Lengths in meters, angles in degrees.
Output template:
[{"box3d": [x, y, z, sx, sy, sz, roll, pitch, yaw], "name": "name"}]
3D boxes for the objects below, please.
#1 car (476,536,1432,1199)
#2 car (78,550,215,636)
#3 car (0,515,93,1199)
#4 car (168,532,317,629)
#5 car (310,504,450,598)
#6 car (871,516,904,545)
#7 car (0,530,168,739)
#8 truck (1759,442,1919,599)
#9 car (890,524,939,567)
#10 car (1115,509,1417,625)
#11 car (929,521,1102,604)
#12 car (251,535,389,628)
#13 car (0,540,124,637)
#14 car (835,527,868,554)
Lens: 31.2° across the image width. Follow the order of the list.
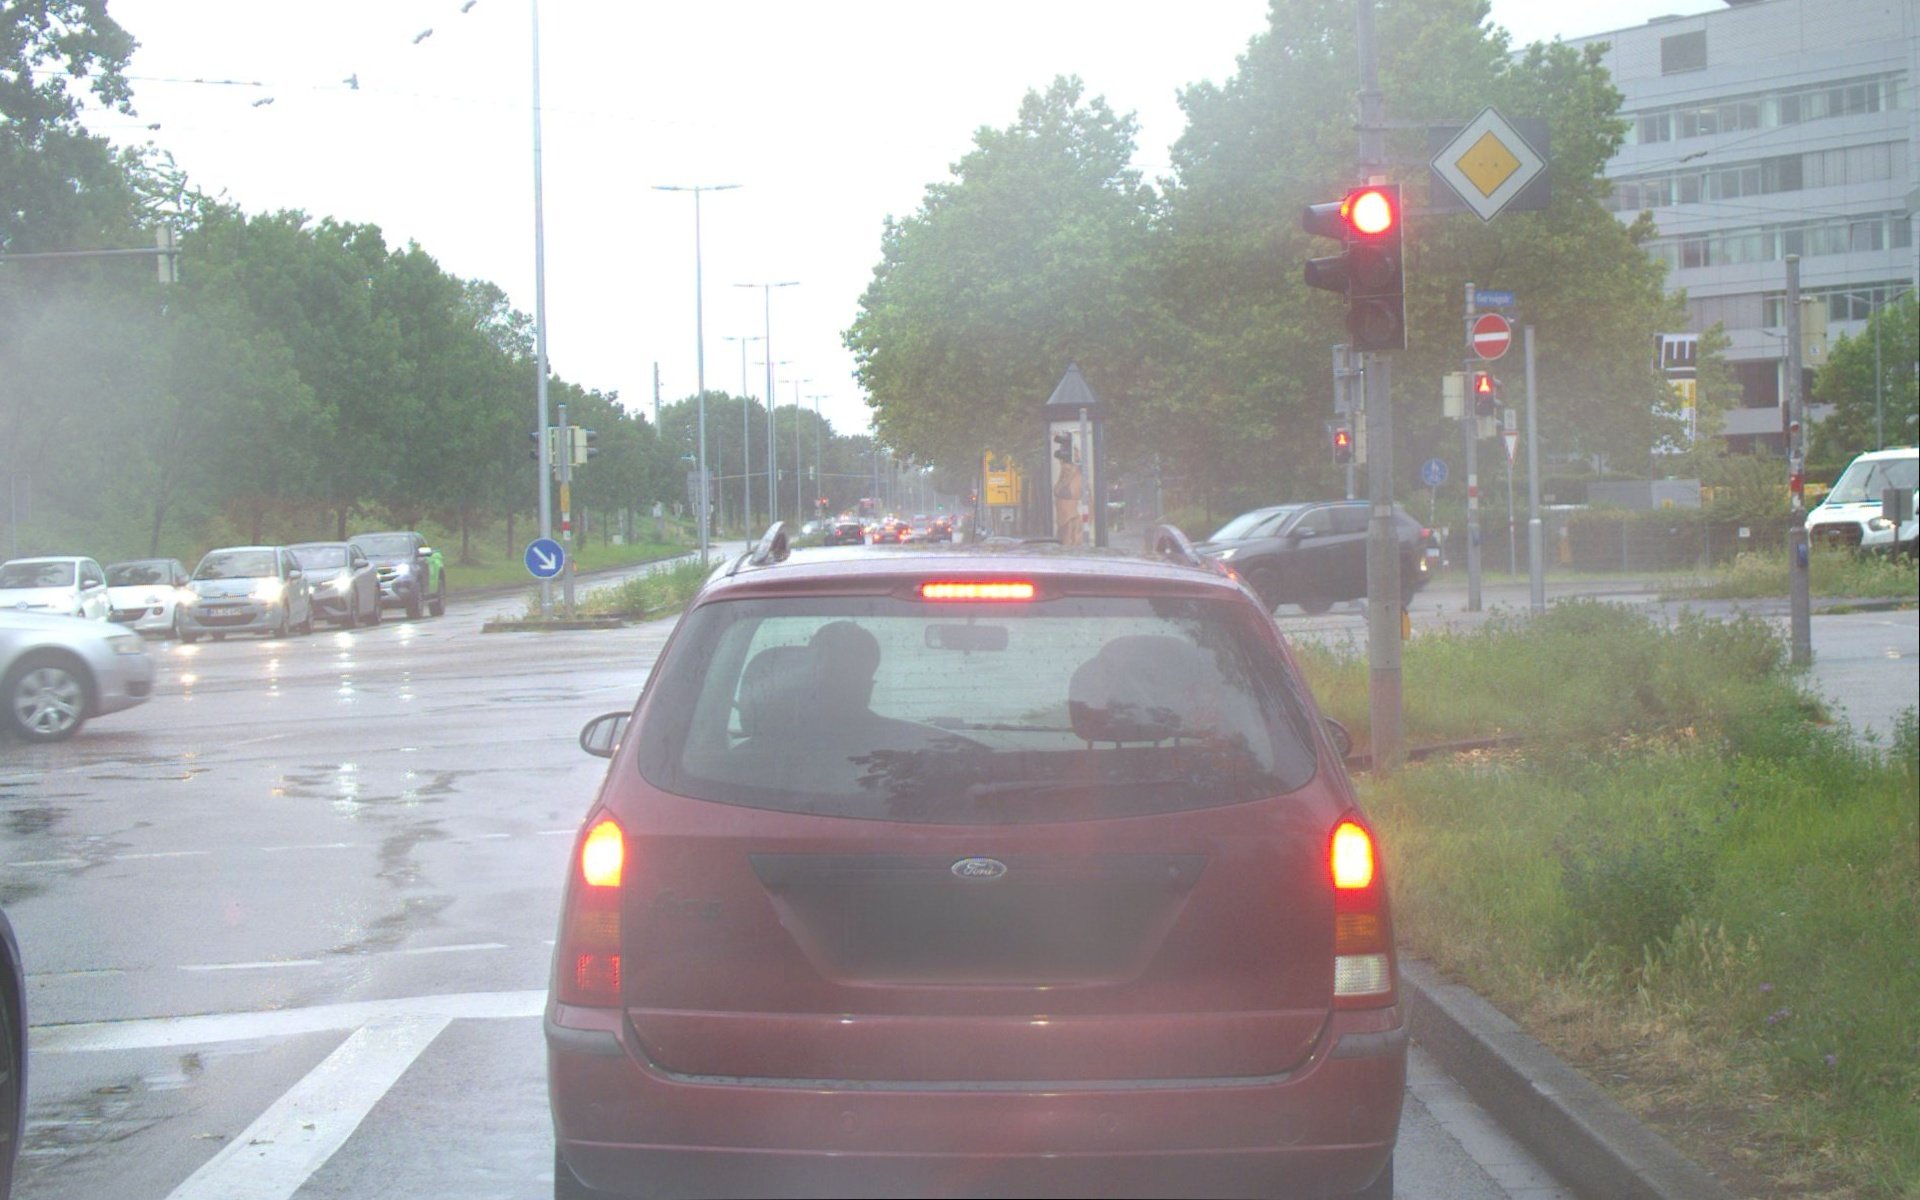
[{"box3d": [-0.062, 0.606, 7.826, 1.642, 1.460, 3.733, 1, 1, -2], "name": "car"}, {"box3d": [-14.501, -0.154, 61.446, 1.590, 1.399, 3.823, -2, 1, -2], "name": "car"}, {"box3d": [-2.680, 0.649, 4.914, 1.769, 1.568, 4.822, 1, 1, -2], "name": "car"}, {"box3d": [-11.683, -0.345, 56.160, 1.638, 1.468, 3.965, -2, 1, -1], "name": "car"}, {"box3d": [-11.981, -1.036, 71.390, 2.065, 1.813, 5.542, -2, 1, -2], "name": "car"}, {"box3d": [-3.994, -3.818, 189.624, 1.698, 1.522, 3.846, -1, 1, 1], "name": "car"}, {"box3d": [-8.432, 0.289, 25.024, 4.814, 1.485, 1.927, -2, 1, -30], "name": "car"}, {"box3d": [15.963, -1.301, 54.678, 6.847, 2.357, 2.482, -2, 1, -37], "name": "truck"}, {"box3d": [-1.646, -2.015, 126.075, 1.671, 1.522, 3.846, -1, 1, 1], "name": "car"}, {"box3d": [4.455, -0.492, 49.761, 4.234, 1.554, 1.746, -2, 1, -37], "name": "car"}, {"box3d": [1.208, -0.841, 76.602, 1.993, 1.784, 4.000, 0, 1, -32], "name": "car"}, {"box3d": [-11.724, -0.356, 63.249, 1.762, 1.580, 4.814, -2, 1, -2], "name": "car"}, {"box3d": [-14.624, -0.202, 55.118, 1.638, 1.447, 3.788, -2, 1, -3], "name": "car"}, {"box3d": [-6.302, -3.478, 199.934, 1.698, 1.522, 3.846, -1, 1, 1], "name": "car"}]
